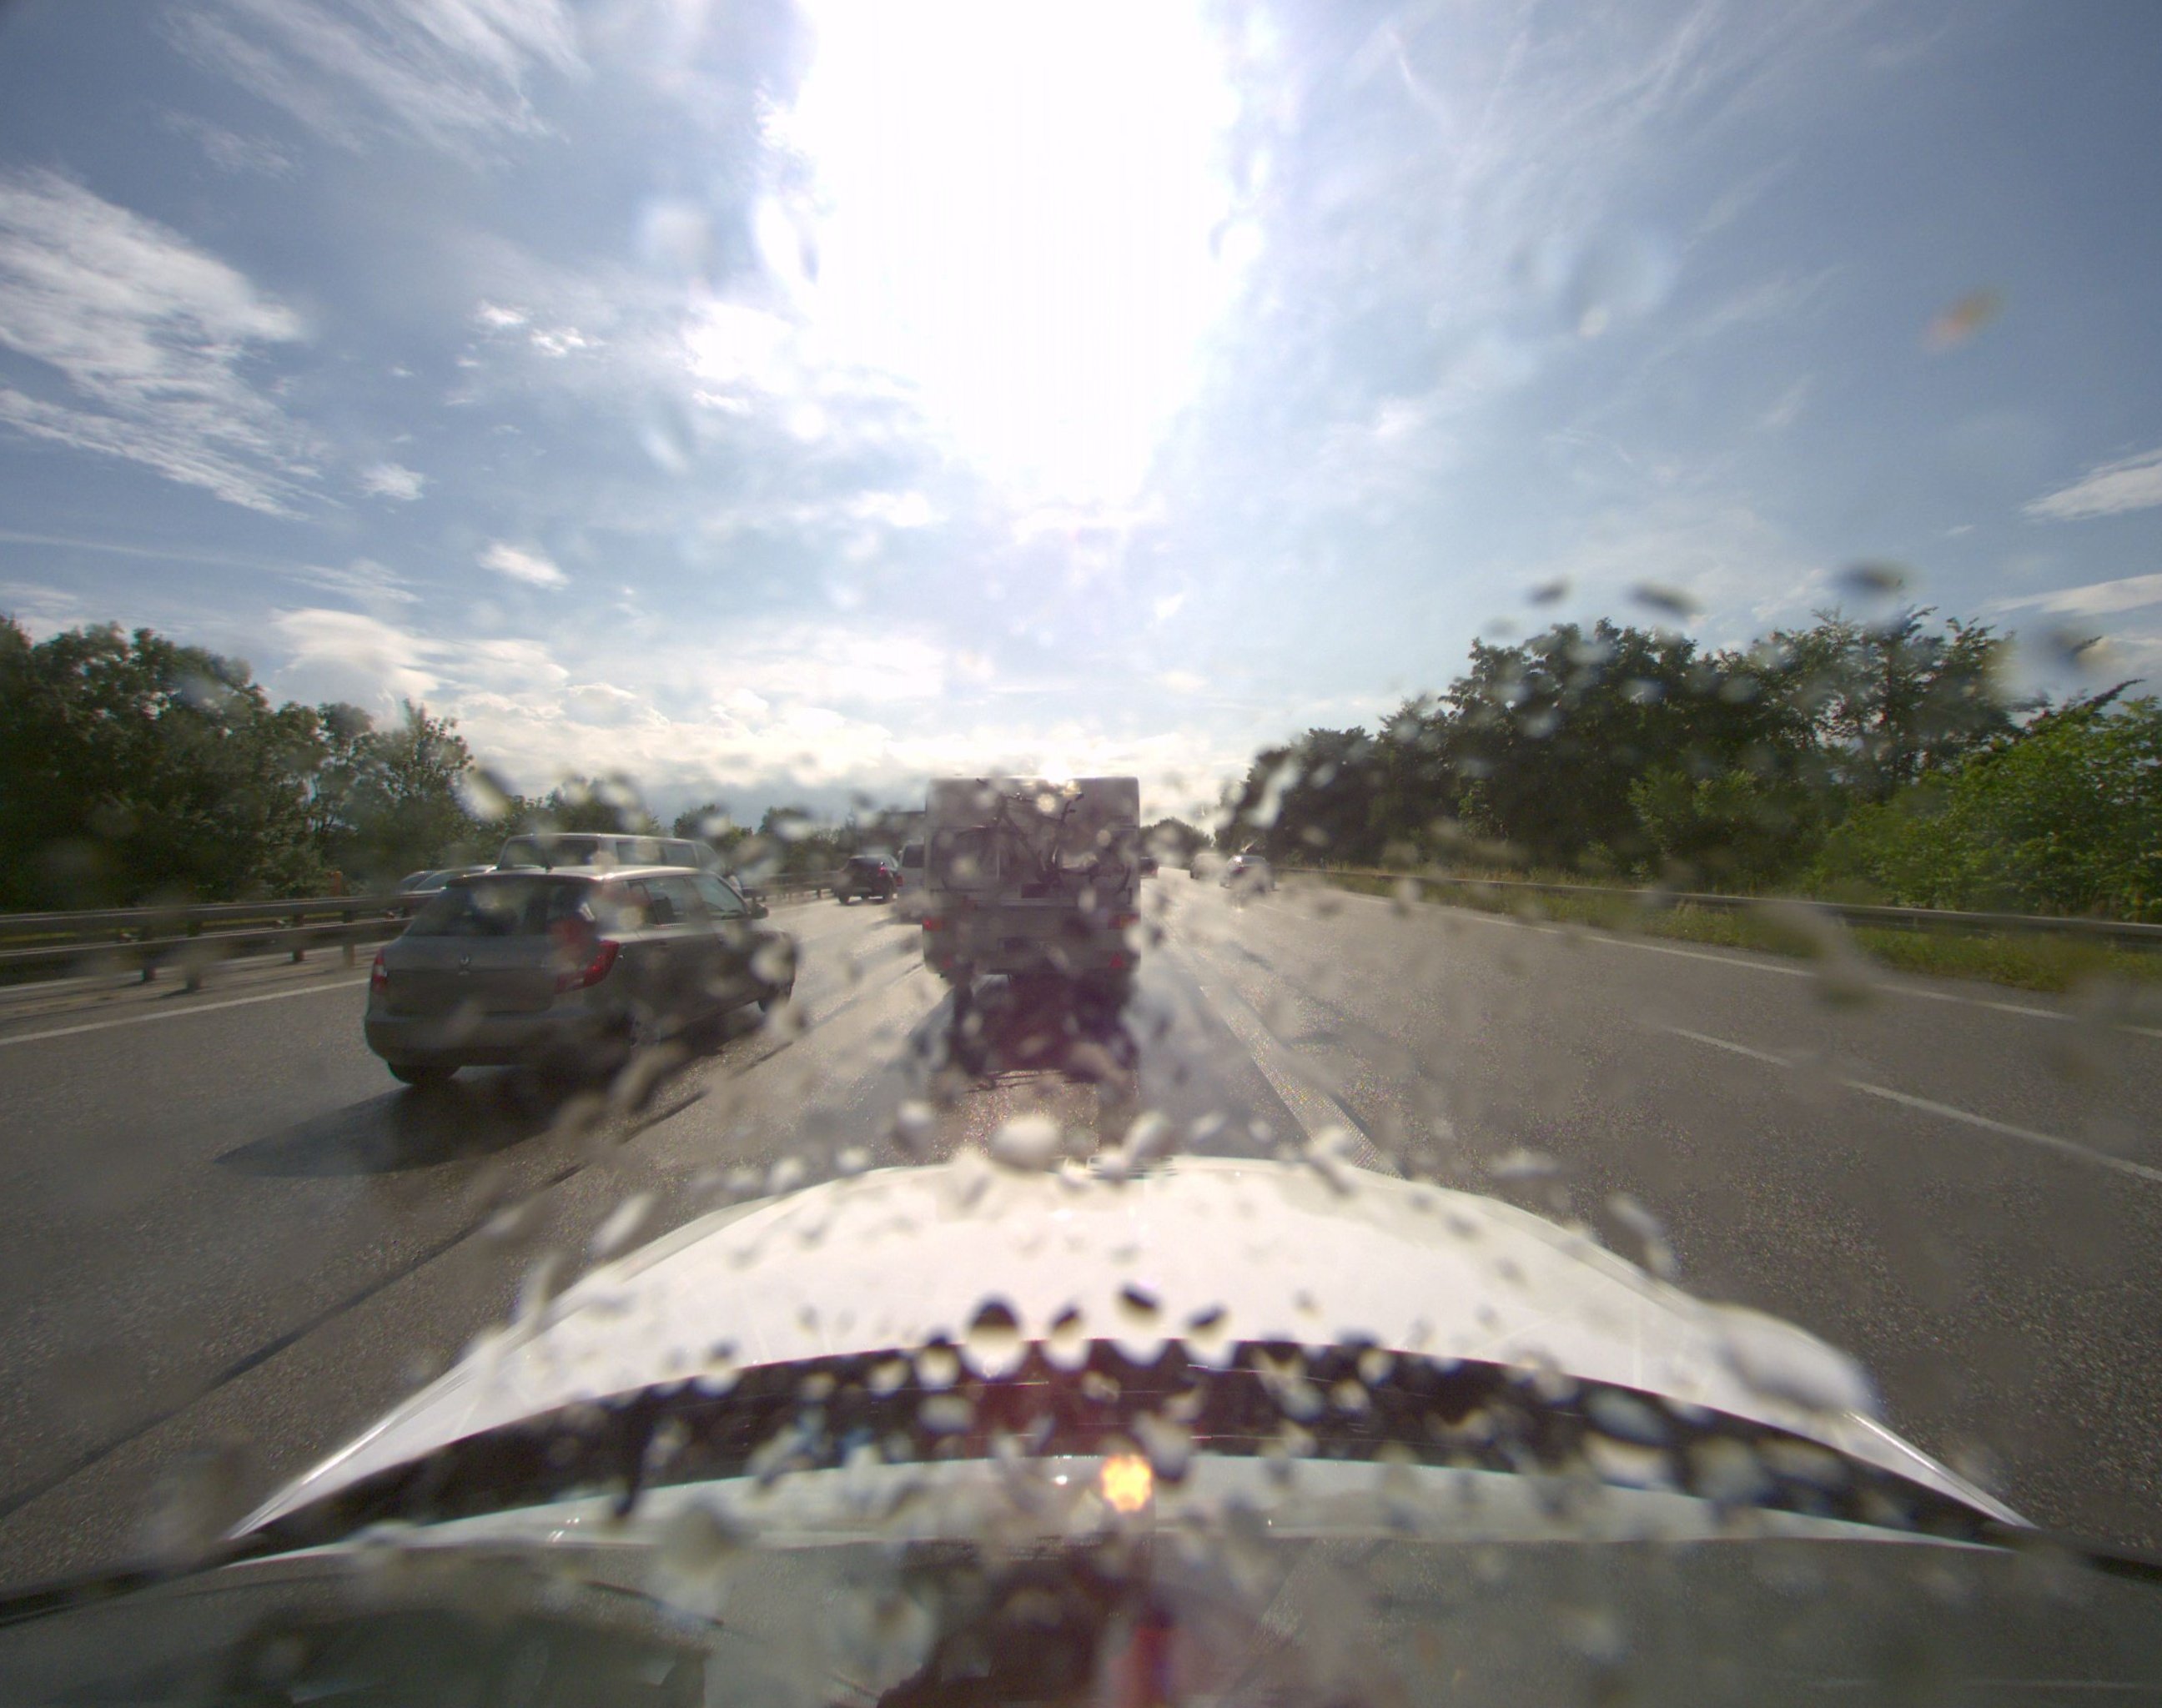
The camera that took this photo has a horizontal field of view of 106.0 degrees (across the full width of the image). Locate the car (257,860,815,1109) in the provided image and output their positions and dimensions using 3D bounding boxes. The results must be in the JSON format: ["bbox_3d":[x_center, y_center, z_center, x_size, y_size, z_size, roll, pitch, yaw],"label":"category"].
[{"bbox_3d":[-3.910,0.801,6.809,1.980,1.458,3.828,-1,0,2],"label":"car"}]

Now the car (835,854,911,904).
[{"bbox_3d":[-7.396,0.862,29.264,1.767,1.662,3.998,0,-1,-1],"label":"car"}]

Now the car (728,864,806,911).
[{"bbox_3d":[-14.356,1.484,37.480,1.987,1.990,3.999,-1,0,0],"label":"car"}]

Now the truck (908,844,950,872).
[{"bbox_3d":[-17.382,0.455,93.699,2.906,2.987,8.723,0,-1,1],"label":"truck"}]

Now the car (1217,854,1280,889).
[{"bbox_3d":[7.450,0.752,36.597,1.872,1.494,3.996,0,-1,-3],"label":"car"}]

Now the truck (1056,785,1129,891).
[{"bbox_3d":[0.532,-0.680,41.205,3.136,4.626,10.734,-1,0,0],"label":"truck"}]

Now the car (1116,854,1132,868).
[{"bbox_3d":[4.985,0.800,94.679,1.713,1.684,4.002,-1,0,2],"label":"car"}]

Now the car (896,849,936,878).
[{"bbox_3d":[-14.140,0.776,70.148,2.106,2.396,6.104,-1,0,1],"label":"car"}]

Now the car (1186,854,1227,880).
[{"bbox_3d":[8.138,0.834,52.967,1.872,1.629,3.996,0,-1,-3],"label":"car"}]

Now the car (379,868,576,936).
[{"bbox_3d":[-15.111,1.133,20.717,1.987,1.486,4.000,-1,0,0],"label":"car"}]

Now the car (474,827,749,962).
[{"bbox_3d":[-7.809,0.590,14.271,1.841,1.934,5.016,-1,0,1],"label":"car"}]

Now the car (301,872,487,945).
[{"bbox_3d":[-19.772,1.505,23.713,1.987,1.838,3.999,-1,0,0],"label":"car"}]

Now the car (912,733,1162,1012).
[{"bbox_3d":[-0.358,0.192,9.843,2.401,2.674,4.002,0,-1,2],"label":"car"}]

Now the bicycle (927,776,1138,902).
[{"bbox_3d":[-0.445,-0.138,7.654,1.927,1.141,0.384,0,-1,0],"label":"bicycle"}]

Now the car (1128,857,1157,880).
[{"bbox_3d":[4.292,0.999,57.068,1.828,1.558,4.002,0,-1,2],"label":"car"}]

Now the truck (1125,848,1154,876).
[{"bbox_3d":[5.299,0.673,74.382,2.406,2.444,6.055,-1,0,2],"label":"truck"}]

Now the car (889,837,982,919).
[{"bbox_3d":[-3.854,0.604,22.210,1.871,2.014,3.997,0,-1,-1],"label":"car"}]

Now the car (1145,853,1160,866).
[{"bbox_3d":[9.462,0.733,107.827,1.713,1.684,4.002,-1,0,2],"label":"car"}]
